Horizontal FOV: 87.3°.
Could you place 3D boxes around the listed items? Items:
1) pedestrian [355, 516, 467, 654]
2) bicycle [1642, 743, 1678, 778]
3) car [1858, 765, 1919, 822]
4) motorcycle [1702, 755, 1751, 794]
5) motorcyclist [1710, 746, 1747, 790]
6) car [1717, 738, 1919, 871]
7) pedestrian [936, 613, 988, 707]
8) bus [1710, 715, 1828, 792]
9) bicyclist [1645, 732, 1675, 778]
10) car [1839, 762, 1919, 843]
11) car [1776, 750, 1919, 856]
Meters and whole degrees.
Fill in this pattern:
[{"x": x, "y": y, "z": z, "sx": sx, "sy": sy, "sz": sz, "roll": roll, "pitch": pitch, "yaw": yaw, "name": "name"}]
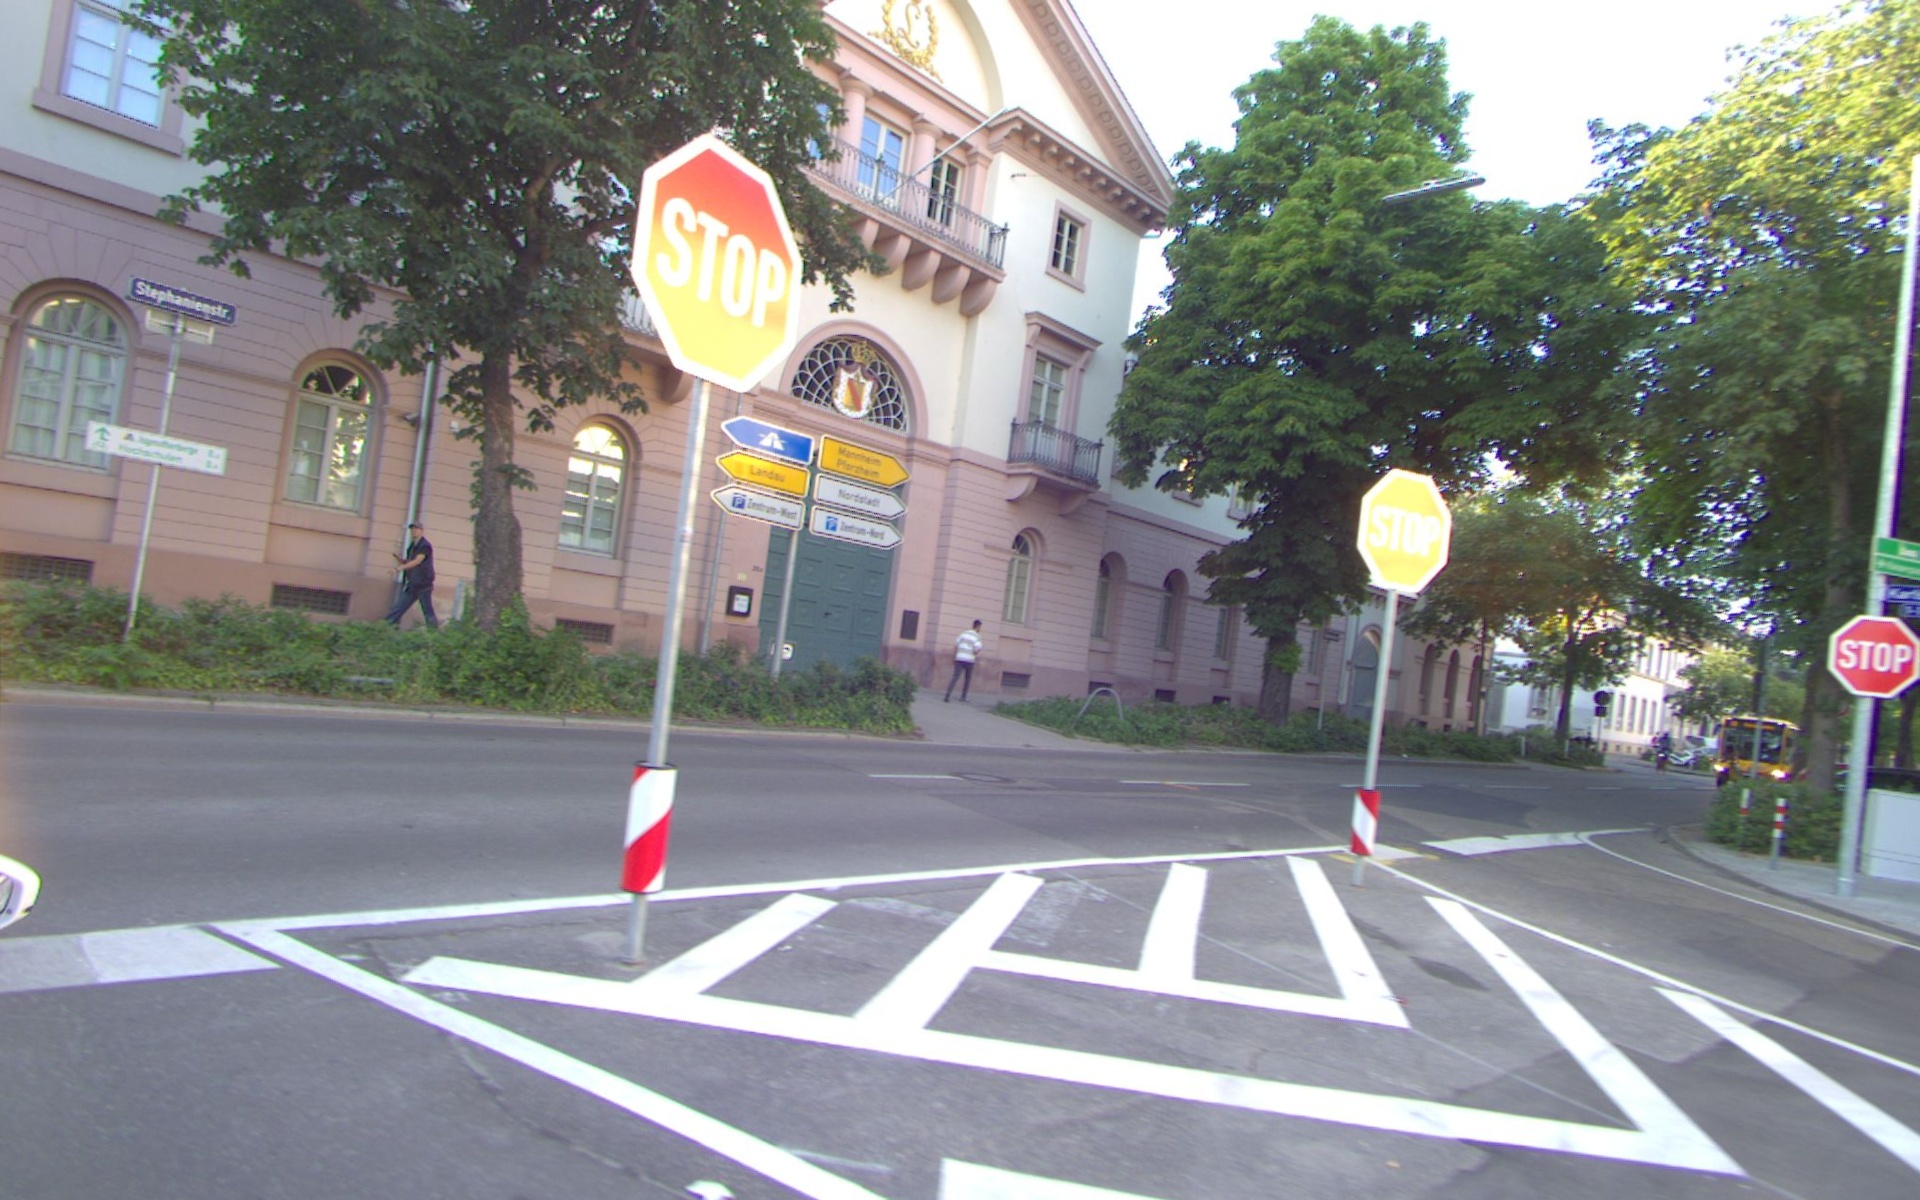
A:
[{"x": -8.101, "y": -0.221, "z": 14.859, "sx": 1.076, "sy": 1.860, "sz": 0.791, "roll": 9, "pitch": -2, "yaw": -43, "name": "pedestrian"}, {"x": 29.926, "y": 6.866, "z": 43.005, "sx": 2.066, "sy": 1.344, "sz": 0.775, "roll": 10, "pitch": -4, "yaw": -43, "name": "bicycle"}, {"x": 32.847, "y": 6.714, "z": 33.663, "sx": 1.714, "sy": 1.633, "sz": 3.951, "roll": 10, "pitch": -3, "yaw": -43, "name": "car"}, {"x": 27.128, "y": 6.182, "z": 35.613, "sx": 1.950, "sy": 1.173, "sz": 0.786, "roll": 9, "pitch": -3, "yaw": -36, "name": "motorcycle"}, {"x": 27.289, "y": 5.962, "z": 35.727, "sx": 0.693, "sy": 1.436, "sz": 0.786, "roll": 9, "pitch": -3, "yaw": -35, "name": "motorcyclist"}, {"x": 15.161, "y": 3.453, "z": 16.573, "sx": 1.819, "sy": 1.633, "sz": 3.951, "roll": 10, "pitch": -3, "yaw": -43, "name": "car"}, {"x": 0.060, "y": 1.275, "z": 21.334, "sx": 0.786, "sy": 1.853, "sz": 0.930, "roll": 8, "pitch": -1, "yaw": 5, "name": "pedestrian"}, {"x": 40.543, "y": 7.779, "z": 50.207, "sx": 12.012, "sy": 3.032, "sz": 2.682, "roll": 11, "pitch": -5, "yaw": -42, "name": "bus"}, {"x": 29.934, "y": 6.619, "z": 42.992, "sx": 0.822, "sy": 1.859, "sz": 0.775, "roll": 9, "pitch": -4, "yaw": -42, "name": "bicyclist"}, {"x": 23.335, "y": 4.976, "z": 23.525, "sx": 1.714, "sy": 1.633, "sz": 3.951, "roll": 10, "pitch": -3, "yaw": -43, "name": "car"}, {"x": 18.787, "y": 4.142, "z": 19.793, "sx": 1.714, "sy": 1.633, "sz": 3.951, "roll": 10, "pitch": -3, "yaw": -43, "name": "car"}]
